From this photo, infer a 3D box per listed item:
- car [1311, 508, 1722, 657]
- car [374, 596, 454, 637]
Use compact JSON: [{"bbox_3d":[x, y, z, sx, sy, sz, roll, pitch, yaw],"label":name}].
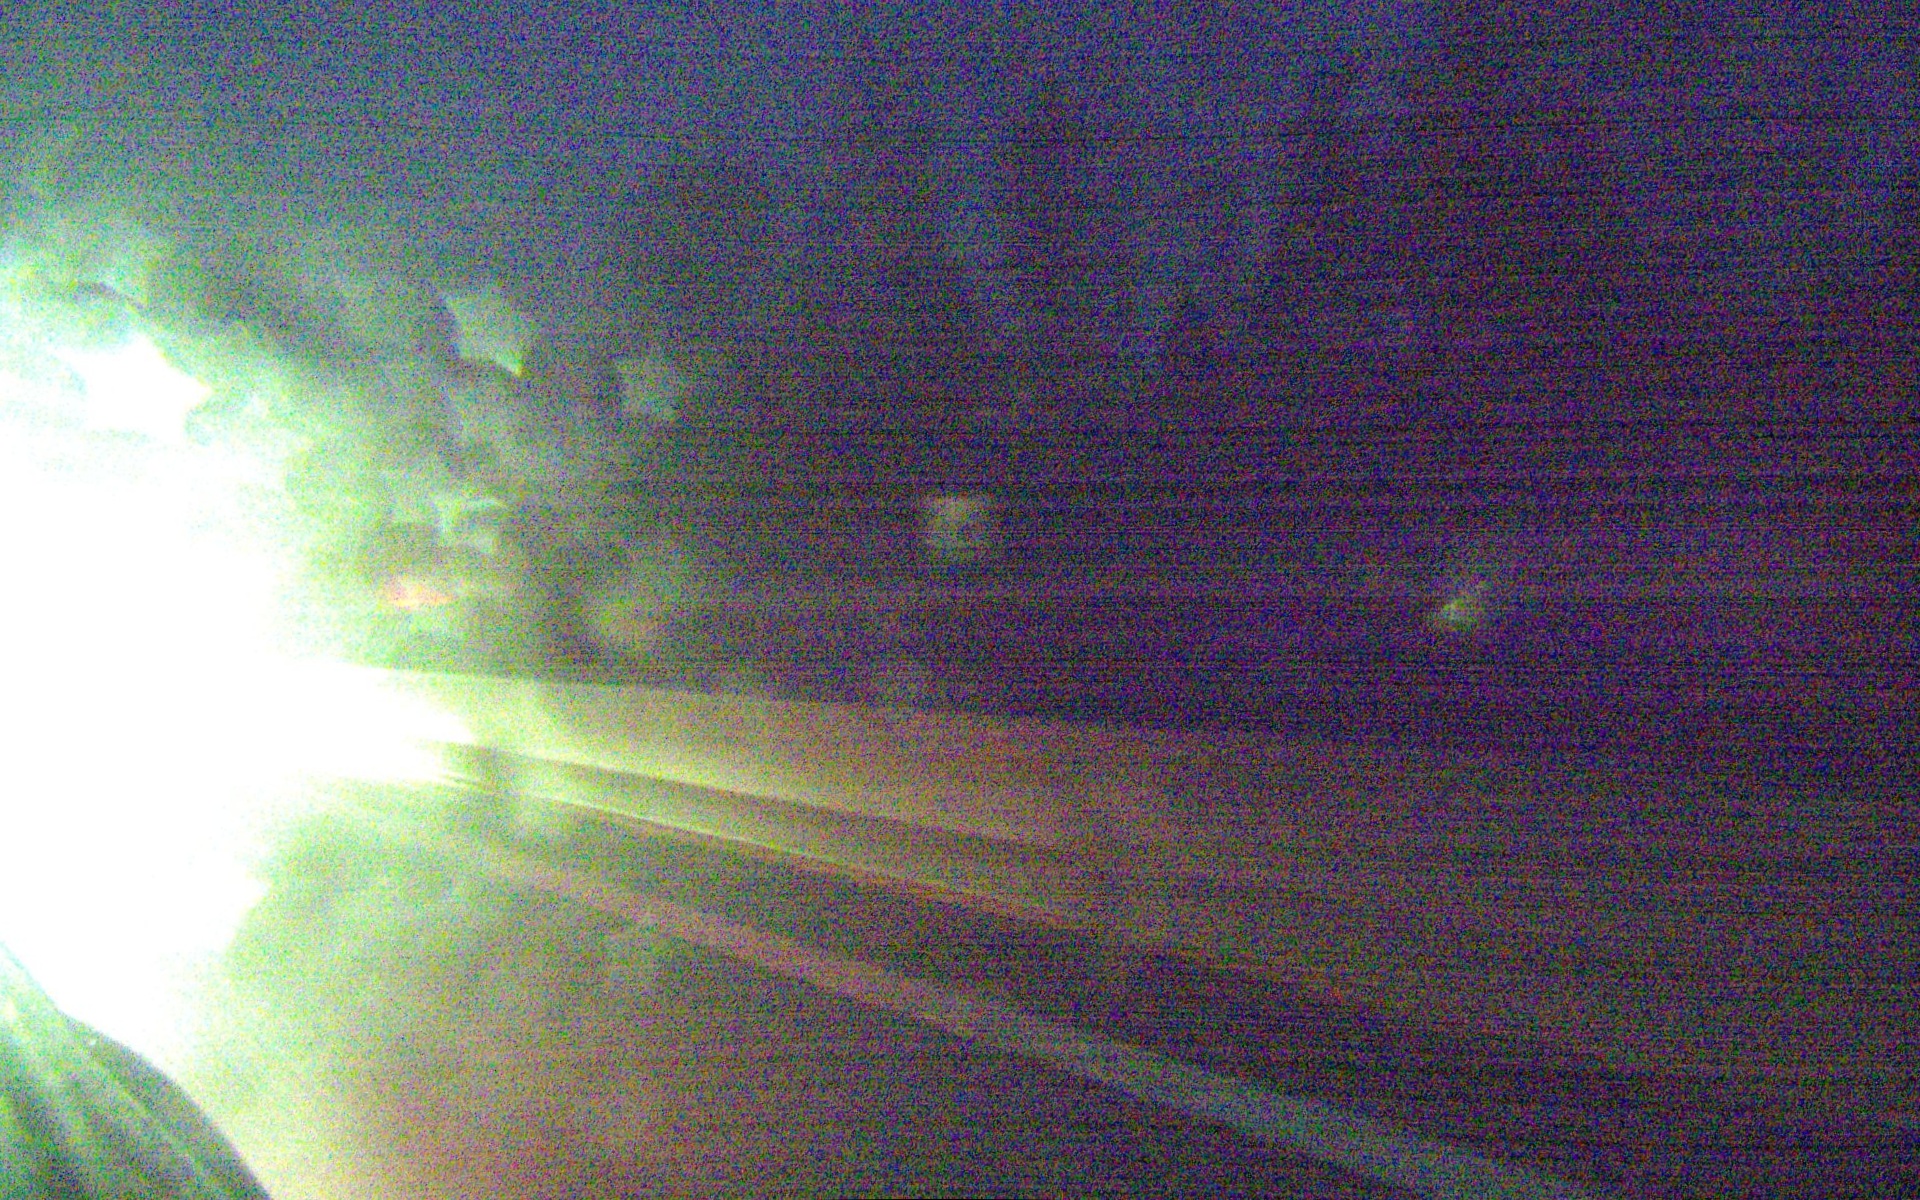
[{"bbox_3d":[6.637,-0.169,12.270,3.998,1.489,1.973,-3,3,41],"label":"car"},{"bbox_3d":[-24.810,0.775,45.938,4.001,1.616,1.972,-3,3,44],"label":"car"}]
